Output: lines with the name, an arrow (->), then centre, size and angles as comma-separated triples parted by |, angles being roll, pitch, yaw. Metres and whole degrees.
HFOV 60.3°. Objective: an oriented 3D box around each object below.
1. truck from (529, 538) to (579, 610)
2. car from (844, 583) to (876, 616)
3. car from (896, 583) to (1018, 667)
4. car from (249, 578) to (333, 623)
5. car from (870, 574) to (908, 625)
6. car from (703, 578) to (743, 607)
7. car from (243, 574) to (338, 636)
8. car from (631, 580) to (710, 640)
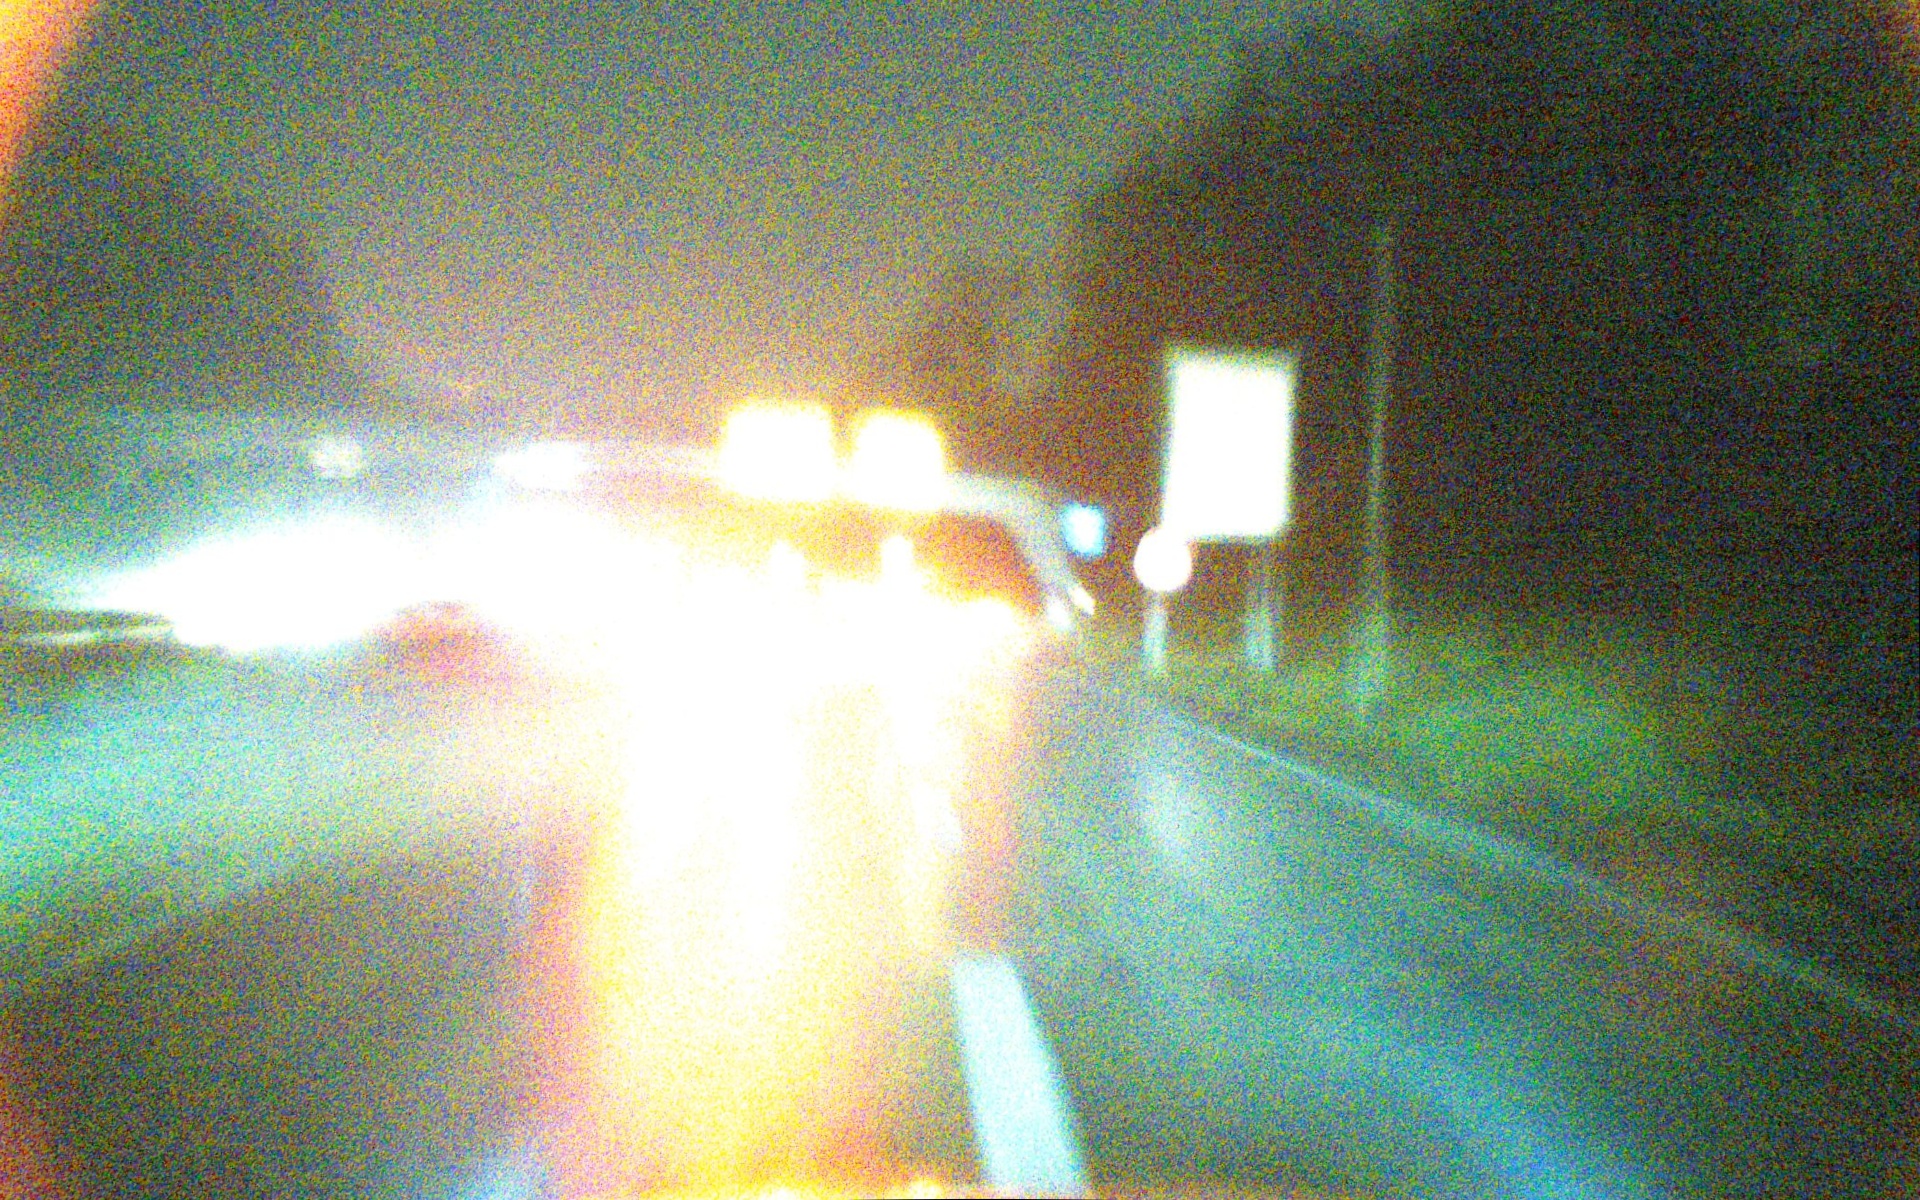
truck -> -26.243, -1.614, 107.011 | 2.517, 4.481, 5.838 | 2, 0, -9
car -> -6.421, -0.038, 106.181 | 1.954, 2.049, 3.997 | 1, 0, -4
car -> -0.127, 0.444, 30.637 | 1.924, 1.405, 4.045 | 1, 0, -4
car -> -25.969, 0.038, 64.367 | 1.805, 1.676, 4.329 | 1, 0, -5
car -> -3.000, -0.041, 69.684 | 1.523, 2.049, 3.998 | 1, 1, -3
car -> -13.155, -0.405, 91.953 | 1.858, 1.572, 3.997 | 1, 0, -4
car -> -19.850, 0.132, 49.120 | 1.522, 1.753, 3.161 | 1, 0, 0
car -> -7.930, 0.268, 45.556 | 1.856, 1.577, 3.994 | 1, 0, -6
